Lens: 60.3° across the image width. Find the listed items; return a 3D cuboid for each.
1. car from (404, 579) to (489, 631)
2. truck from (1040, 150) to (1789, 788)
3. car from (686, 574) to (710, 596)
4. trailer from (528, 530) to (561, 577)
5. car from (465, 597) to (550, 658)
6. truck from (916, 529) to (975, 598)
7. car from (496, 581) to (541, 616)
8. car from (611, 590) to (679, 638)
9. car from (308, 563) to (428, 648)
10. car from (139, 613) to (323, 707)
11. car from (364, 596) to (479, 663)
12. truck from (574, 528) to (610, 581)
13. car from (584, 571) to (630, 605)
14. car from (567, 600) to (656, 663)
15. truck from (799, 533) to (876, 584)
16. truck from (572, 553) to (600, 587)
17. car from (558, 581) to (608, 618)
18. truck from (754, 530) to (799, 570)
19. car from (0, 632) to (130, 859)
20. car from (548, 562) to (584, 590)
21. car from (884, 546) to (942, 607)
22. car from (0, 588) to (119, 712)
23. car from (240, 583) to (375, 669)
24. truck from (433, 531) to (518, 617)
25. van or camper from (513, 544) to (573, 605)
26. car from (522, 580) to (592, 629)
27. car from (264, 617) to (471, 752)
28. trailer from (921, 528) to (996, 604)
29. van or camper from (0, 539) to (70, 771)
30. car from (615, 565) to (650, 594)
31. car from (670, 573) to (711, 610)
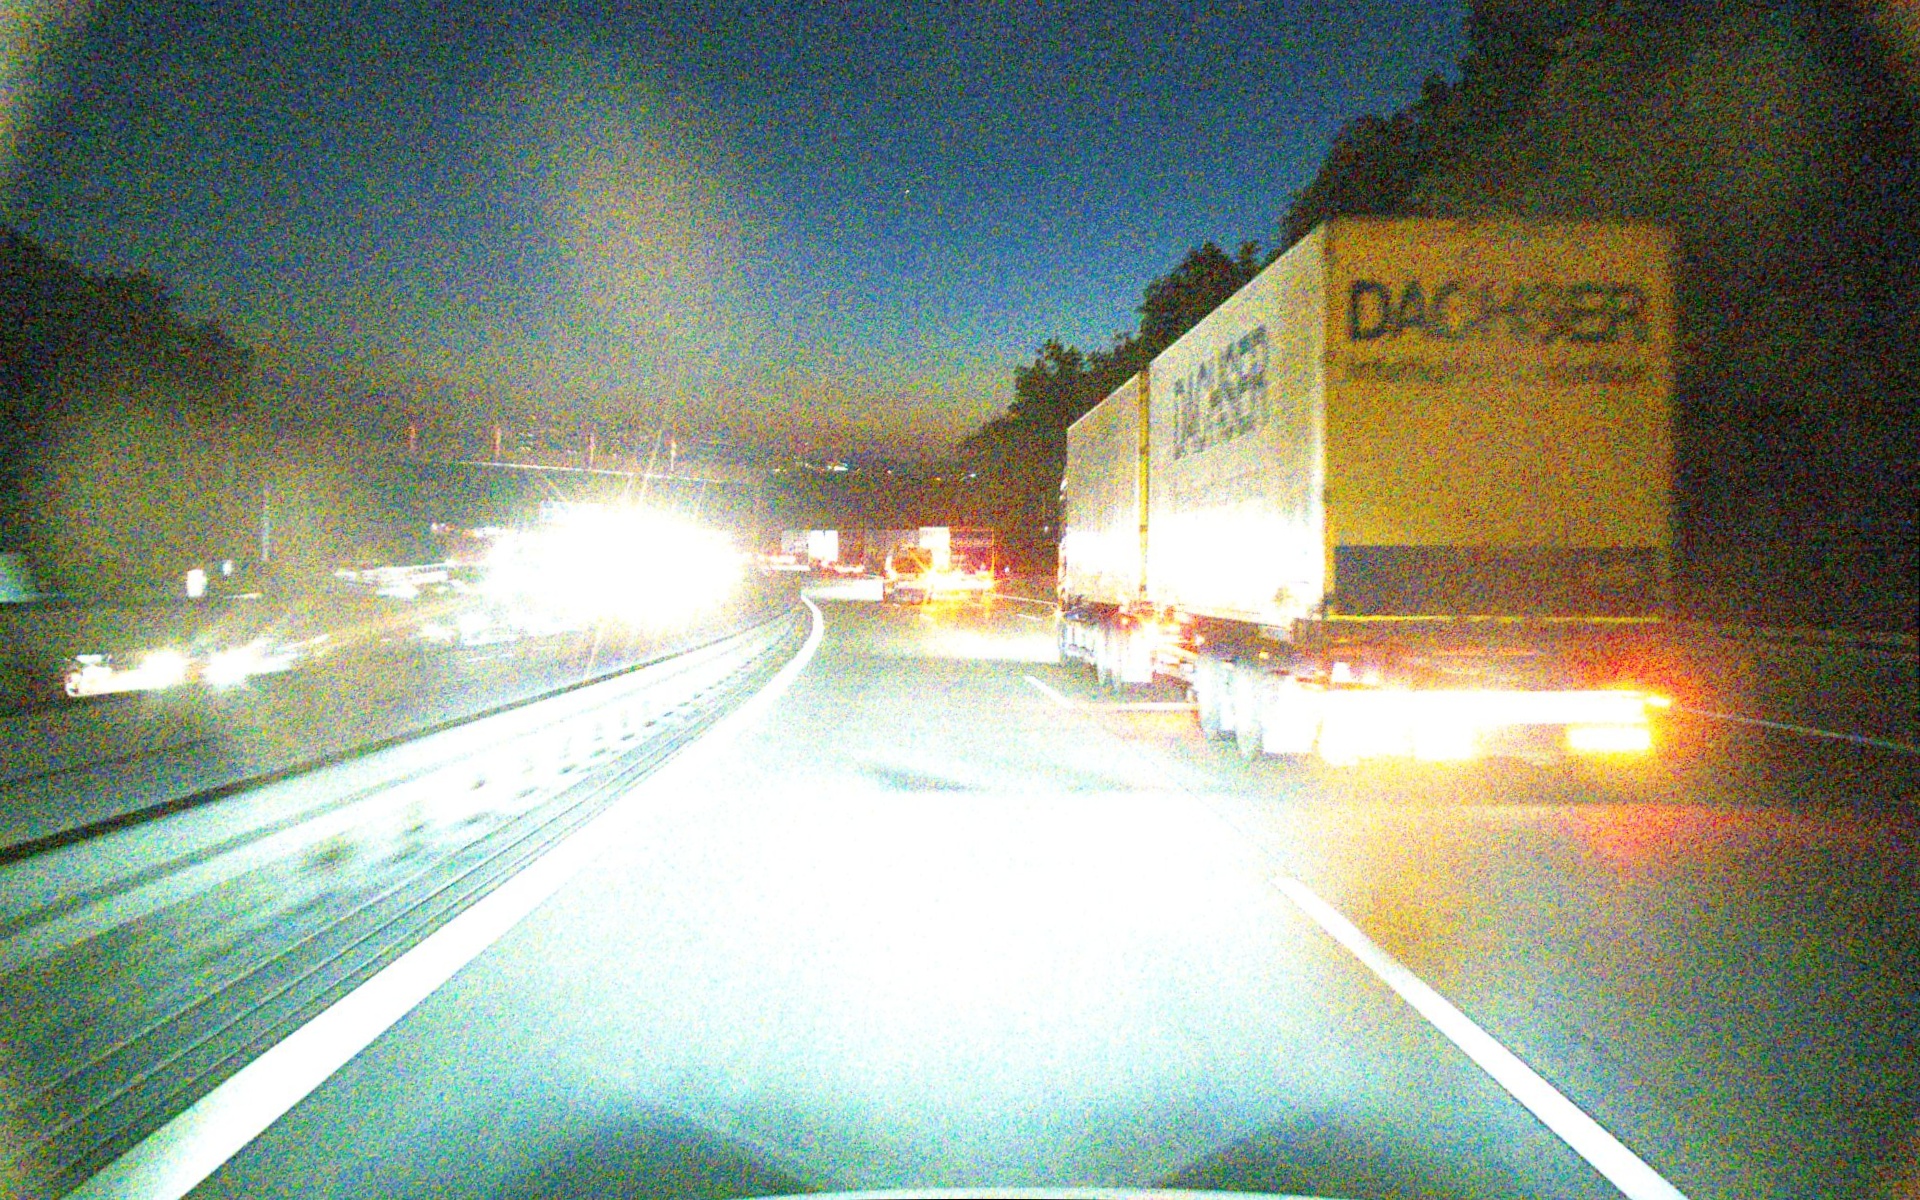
[{"bbox_3d":[-18.249,0.144,58.965,1.824,1.729,4.391,-1,1,-3],"label":"car"},{"bbox_3d":[3.543,-0.882,20.508,3.412,4.207,18.701,1,0,-2],"label":"truck"},{"bbox_3d":[-15.661,-0.911,99.007,1.392,1.278,3.124,0,2,-8],"label":"car"},{"bbox_3d":[-39.892,-4.496,159.214,2.791,4.243,13.239,-2,2,-13],"label":"trailer"},{"bbox_3d":[-14.268,0.832,52.366,1.703,1.774,3.998,-1,1,-2],"label":"car"},{"bbox_3d":[-0.957,-2.345,103.282,2.807,4.147,7.500,0,2,-7],"label":"truck"},{"bbox_3d":[-21.197,-0.096,79.526,1.610,1.566,4.430,-1,1,-8],"label":"car"},{"bbox_3d":[-9.920,0.412,52.317,1.720,1.378,4.287,-1,1,-6],"label":"car"},{"bbox_3d":[-17.067,0.096,47.929,2.089,2.307,4.560,-1,1,-5],"label":"car"},{"bbox_3d":[-12.696,1.003,29.048,1.714,1.478,3.838,-1,0,-4],"label":"car"},{"bbox_3d":[-13.385,0.707,41.320,1.573,1.505,4.073,-1,1,-1],"label":"car"},{"bbox_3d":[-30.542,-3.756,137.160,2.816,4.283,6.086,0,2,-14],"label":"truck"},{"bbox_3d":[-16.398,-0.575,76.936,1.609,1.509,4.358,-1,1,-6],"label":"car"},{"bbox_3d":[-8.839,0.766,42.240,1.720,1.378,4.630,-1,2,-6],"label":"car"},{"bbox_3d":[-12.252,-4.070,162.954,3.850,4.707,20.938,-1,2,-15],"label":"truck"},{"bbox_3d":[-28.141,-2.279,124.344,1.960,2.501,5.033,0,2,-14],"label":"truck"},{"bbox_3d":[-15.073,-0.028,66.278,1.504,1.359,4.214,-1,2,-7],"label":"car"},{"bbox_3d":[-22.458,-6.145,201.797,3.289,4.553,13.858,3,1,-15],"label":"truck"},{"bbox_3d":[-7.337,1.005,10.672,1.797,1.477,4.503,0,0,-2],"label":"car"},{"bbox_3d":[-24.091,-1.472,101.278,1.892,1.682,4.724,0,0,-11],"label":"car"},{"bbox_3d":[-2.152,-1.071,77.227,2.288,2.686,5.249,1,0,2],"label":"car"},{"bbox_3d":[-16.148,0.812,27.923,1.803,1.956,4.560,-1,0,-4],"label":"car"},{"bbox_3d":[-16.523,0.603,42.147,1.956,1.993,4.980,-1,1,-7],"label":"car"},{"bbox_3d":[-19.950,-1.082,68.431,2.331,3.317,7.707,-1,1,-9],"label":"truck"},{"bbox_3d":[-21.676,-1.388,86.190,2.180,3.055,7.113,0,2,-7],"label":"van or camper"},{"bbox_3d":[-14.741,0.133,60.723,1.955,1.689,4.447,0,1,-7],"label":"car"},{"bbox_3d":[-8.463,1.126,24.048,1.720,1.572,4.710,-1,2,-6],"label":"car"},{"bbox_3d":[-0.214,-2.104,97.549,2.800,4.137,13.187,0,2,-7],"label":"trailer"},{"bbox_3d":[-11.941,0.674,17.004,2.210,2.640,6.682,-1,1,-3],"label":"van or camper"},{"bbox_3d":[-18.069,-1.135,91.407,1.610,1.566,3.993,-1,1,-8],"label":"car"},{"bbox_3d":[-12.384,-0.380,76.105,1.648,1.593,3.994,-2,0,-7],"label":"car"}]
